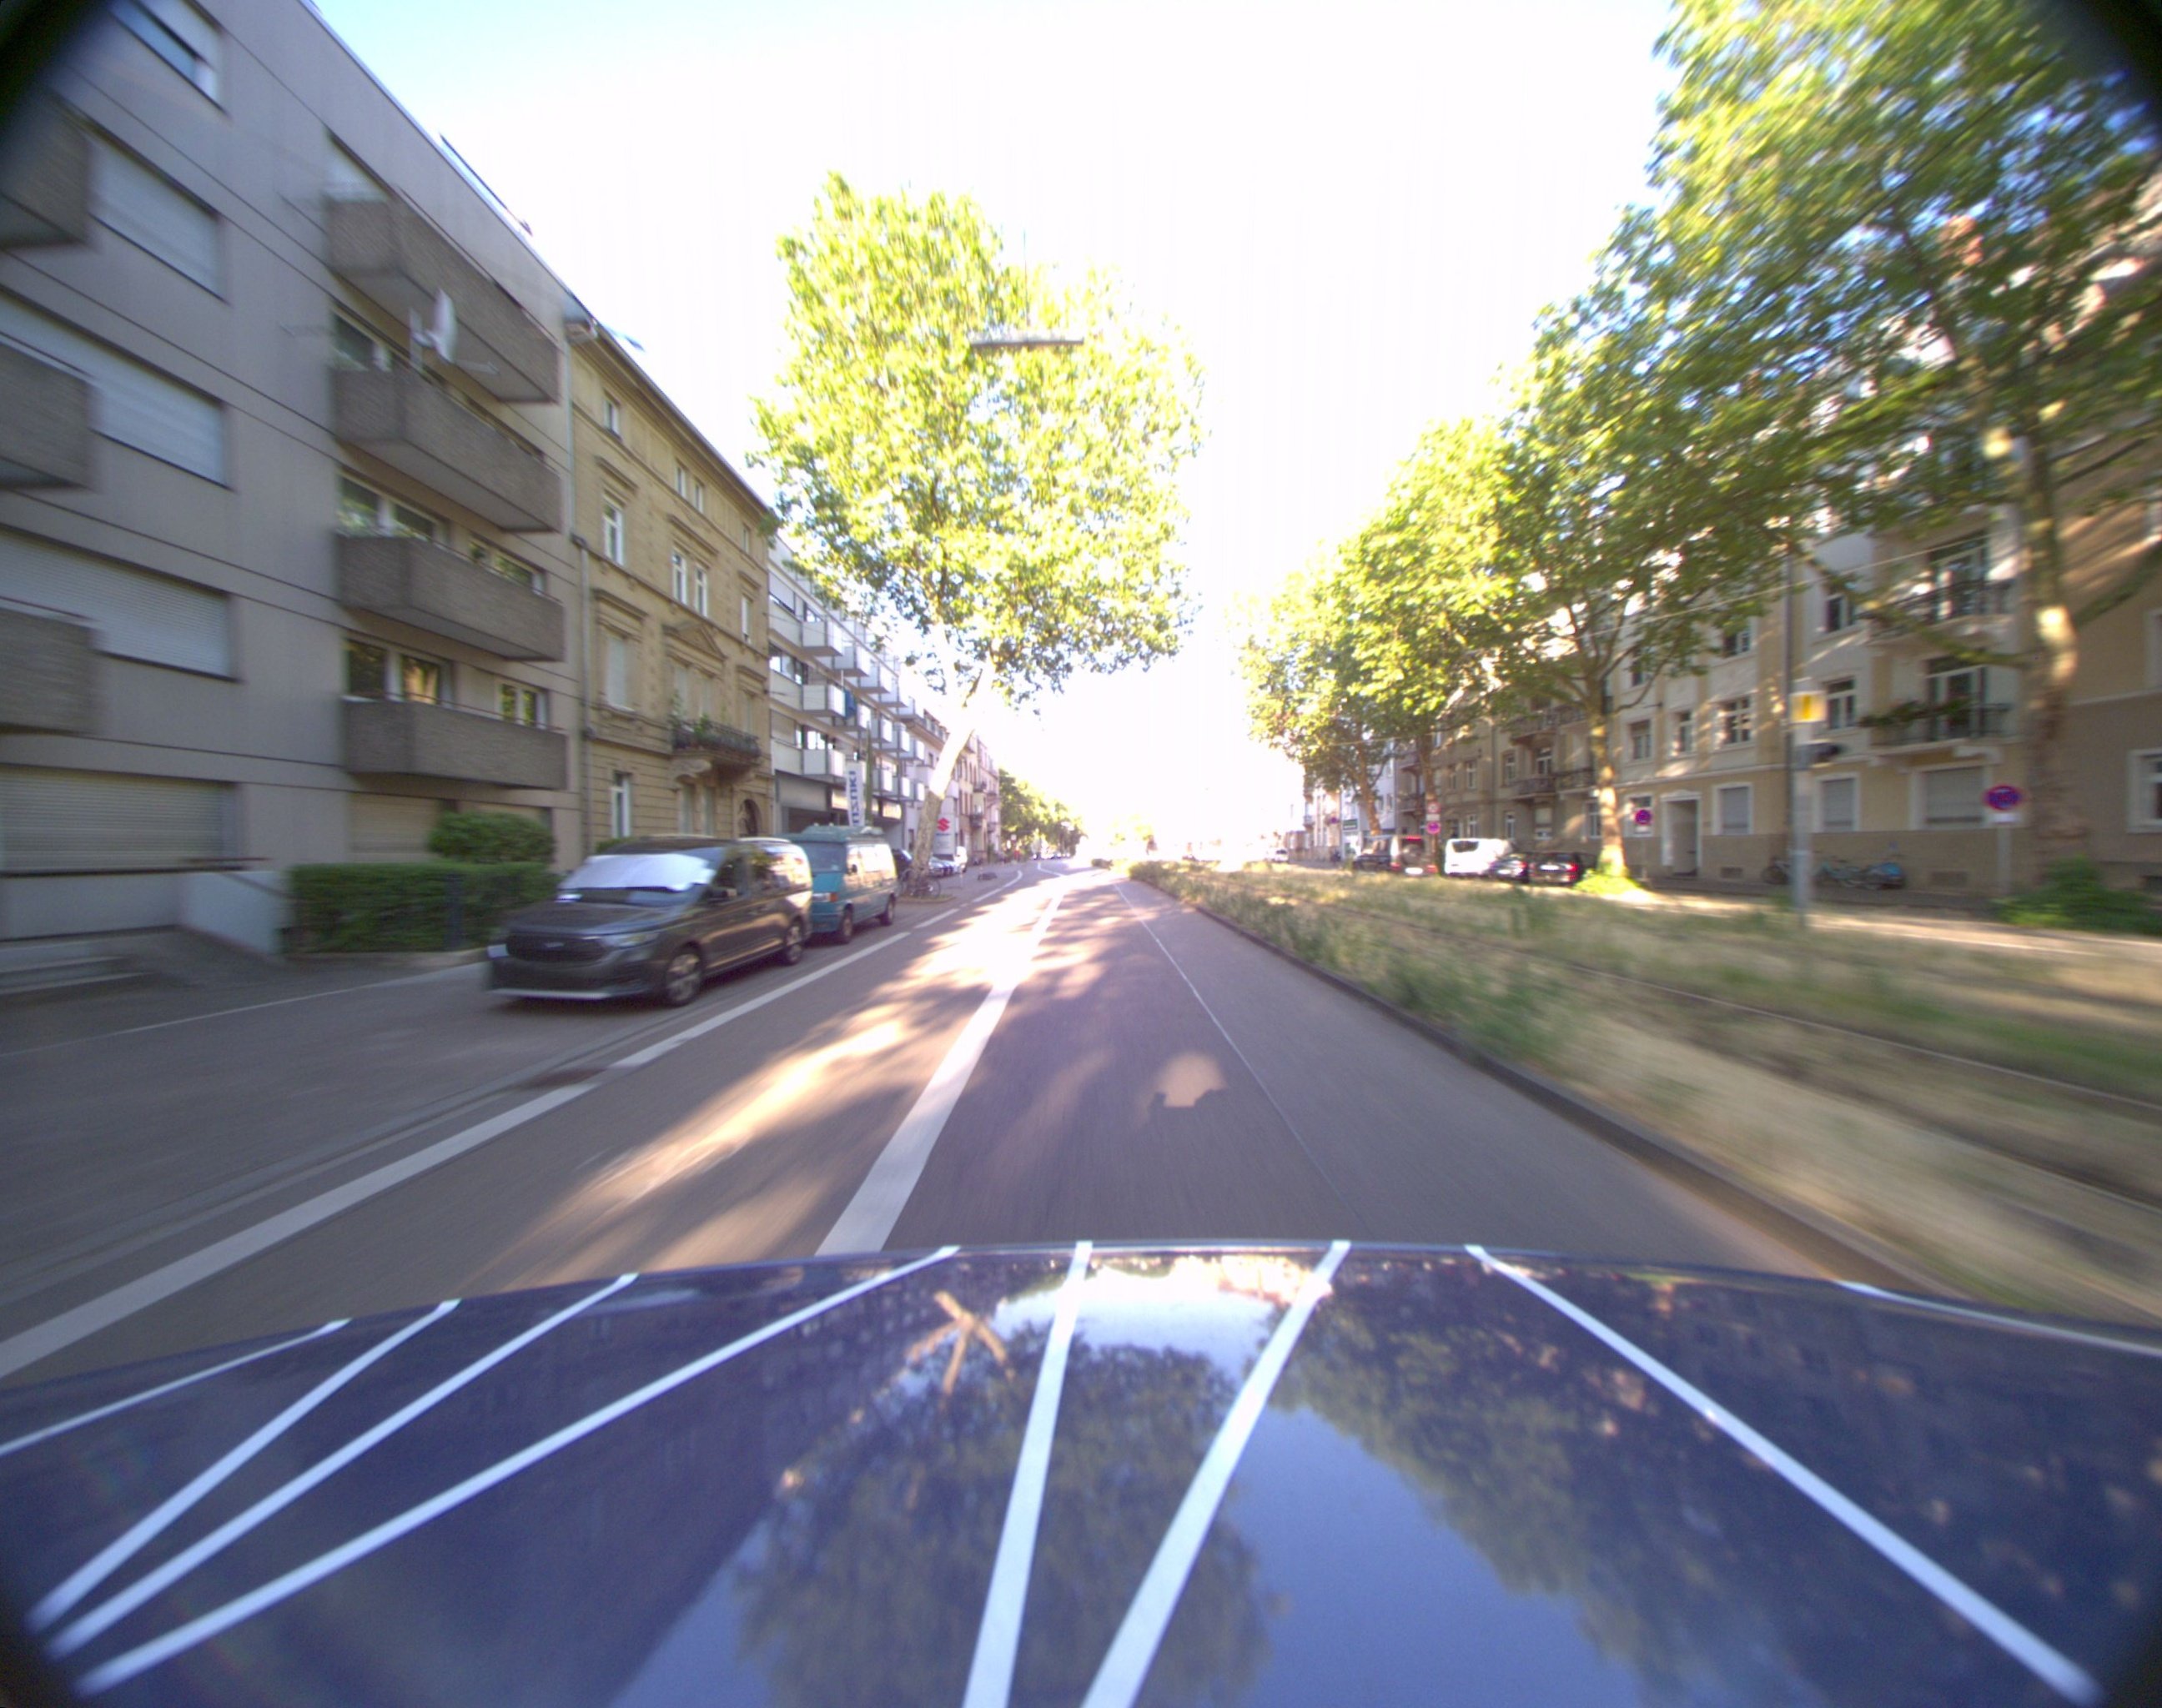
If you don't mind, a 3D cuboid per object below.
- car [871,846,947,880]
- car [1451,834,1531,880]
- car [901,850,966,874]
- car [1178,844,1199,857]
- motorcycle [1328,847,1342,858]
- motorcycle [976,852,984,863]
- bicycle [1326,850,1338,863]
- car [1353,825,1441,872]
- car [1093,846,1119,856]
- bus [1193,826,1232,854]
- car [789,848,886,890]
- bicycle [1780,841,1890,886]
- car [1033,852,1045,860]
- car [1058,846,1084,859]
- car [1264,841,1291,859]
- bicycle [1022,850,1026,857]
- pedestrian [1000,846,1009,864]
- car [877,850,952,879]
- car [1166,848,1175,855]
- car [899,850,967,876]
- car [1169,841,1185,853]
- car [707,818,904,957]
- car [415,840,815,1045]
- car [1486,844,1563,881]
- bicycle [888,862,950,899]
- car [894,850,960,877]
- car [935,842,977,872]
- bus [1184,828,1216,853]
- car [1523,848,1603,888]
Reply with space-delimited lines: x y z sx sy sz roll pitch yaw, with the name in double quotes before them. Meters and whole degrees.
"car" -9.149 0.486 40.592 3.589 1.710 1.682 -1 0 2
"car" 19.805 0.080 36.565 5.257 2.054 1.717 -2 1 -42
"car" -9.642 0.517 49.744 3.820 1.492 1.914 -1 0 1
"car" 12.561 -0.416 88.743 1.720 1.477 4.698 2 1 0
"motorcycle" 25.549 -0.168 76.330 0.529 1.015 2.419 -3 1 0
"motorcycle" -10.856 0.356 81.812 0.591 1.131 2.503 -1 2 -4
"bicycle" 22.006 0.227 66.592 0.758 1.027 1.896 -6 0 14
"car" 12.515 -0.270 30.427 1.873 1.684 4.776 -1 2 5
"car" 4.231 -0.503 128.032 4.002 1.696 1.833 -1 2 -15
"bus" 16.981 -1.890 99.270 3.262 3.355 11.974 -1 2 1
"car" -9.722 0.581 30.519 3.427 1.538 1.442 -1 2 -2
"bicycle" 25.085 0.281 25.377 0.743 1.383 2.960 -1 1 1
"car" -8.352 0.346 150.370 1.877 1.587 4.001 -1 1 4
"car" -1.585 -0.277 123.970 3.999 2.002 1.998 -1 2 -7
"car" 21.839 -0.469 84.505 1.909 1.777 4.652 -1 2 2
"bicycle" -8.048 -0.053 107.873 0.370 1.062 1.874 -1 1 0
"pedestrian" -7.906 0.083 78.585 0.831 1.802 1.150 -1 2 -1
"car" -9.319 0.555 42.777 3.829 1.532 1.858 -1 1 -1
"car" 20.603 -0.602 174.673 1.736 1.471 3.814 0 1 0
"car" -9.205 0.552 47.329 3.879 1.505 1.809 -1 0 -2
"car" 13.670 -1.006 108.422 1.934 1.674 4.000 -1 2 3
"car" -5.104 0.474 15.031 1.999 2.244 5.233 -1 2 -1
"car" -5.102 0.774 9.363 1.999 1.819 4.755 -1 2 -1
"car" 19.559 0.328 33.466 4.185 1.482 1.717 -2 1 -42
"bicycle" -5.075 0.831 23.846 1.849 1.137 0.348 -1 2 0
"car" -9.040 0.528 44.791 3.426 1.516 1.741 -1 1 2
"car" -8.861 0.183 54.185 1.897 1.937 4.900 -1 2 3
"bus" 17.214 -1.978 110.291 3.273 3.355 9.896 -1 2 1
"car" 19.145 0.502 30.116 3.736 1.414 1.717 -2 1 -42
